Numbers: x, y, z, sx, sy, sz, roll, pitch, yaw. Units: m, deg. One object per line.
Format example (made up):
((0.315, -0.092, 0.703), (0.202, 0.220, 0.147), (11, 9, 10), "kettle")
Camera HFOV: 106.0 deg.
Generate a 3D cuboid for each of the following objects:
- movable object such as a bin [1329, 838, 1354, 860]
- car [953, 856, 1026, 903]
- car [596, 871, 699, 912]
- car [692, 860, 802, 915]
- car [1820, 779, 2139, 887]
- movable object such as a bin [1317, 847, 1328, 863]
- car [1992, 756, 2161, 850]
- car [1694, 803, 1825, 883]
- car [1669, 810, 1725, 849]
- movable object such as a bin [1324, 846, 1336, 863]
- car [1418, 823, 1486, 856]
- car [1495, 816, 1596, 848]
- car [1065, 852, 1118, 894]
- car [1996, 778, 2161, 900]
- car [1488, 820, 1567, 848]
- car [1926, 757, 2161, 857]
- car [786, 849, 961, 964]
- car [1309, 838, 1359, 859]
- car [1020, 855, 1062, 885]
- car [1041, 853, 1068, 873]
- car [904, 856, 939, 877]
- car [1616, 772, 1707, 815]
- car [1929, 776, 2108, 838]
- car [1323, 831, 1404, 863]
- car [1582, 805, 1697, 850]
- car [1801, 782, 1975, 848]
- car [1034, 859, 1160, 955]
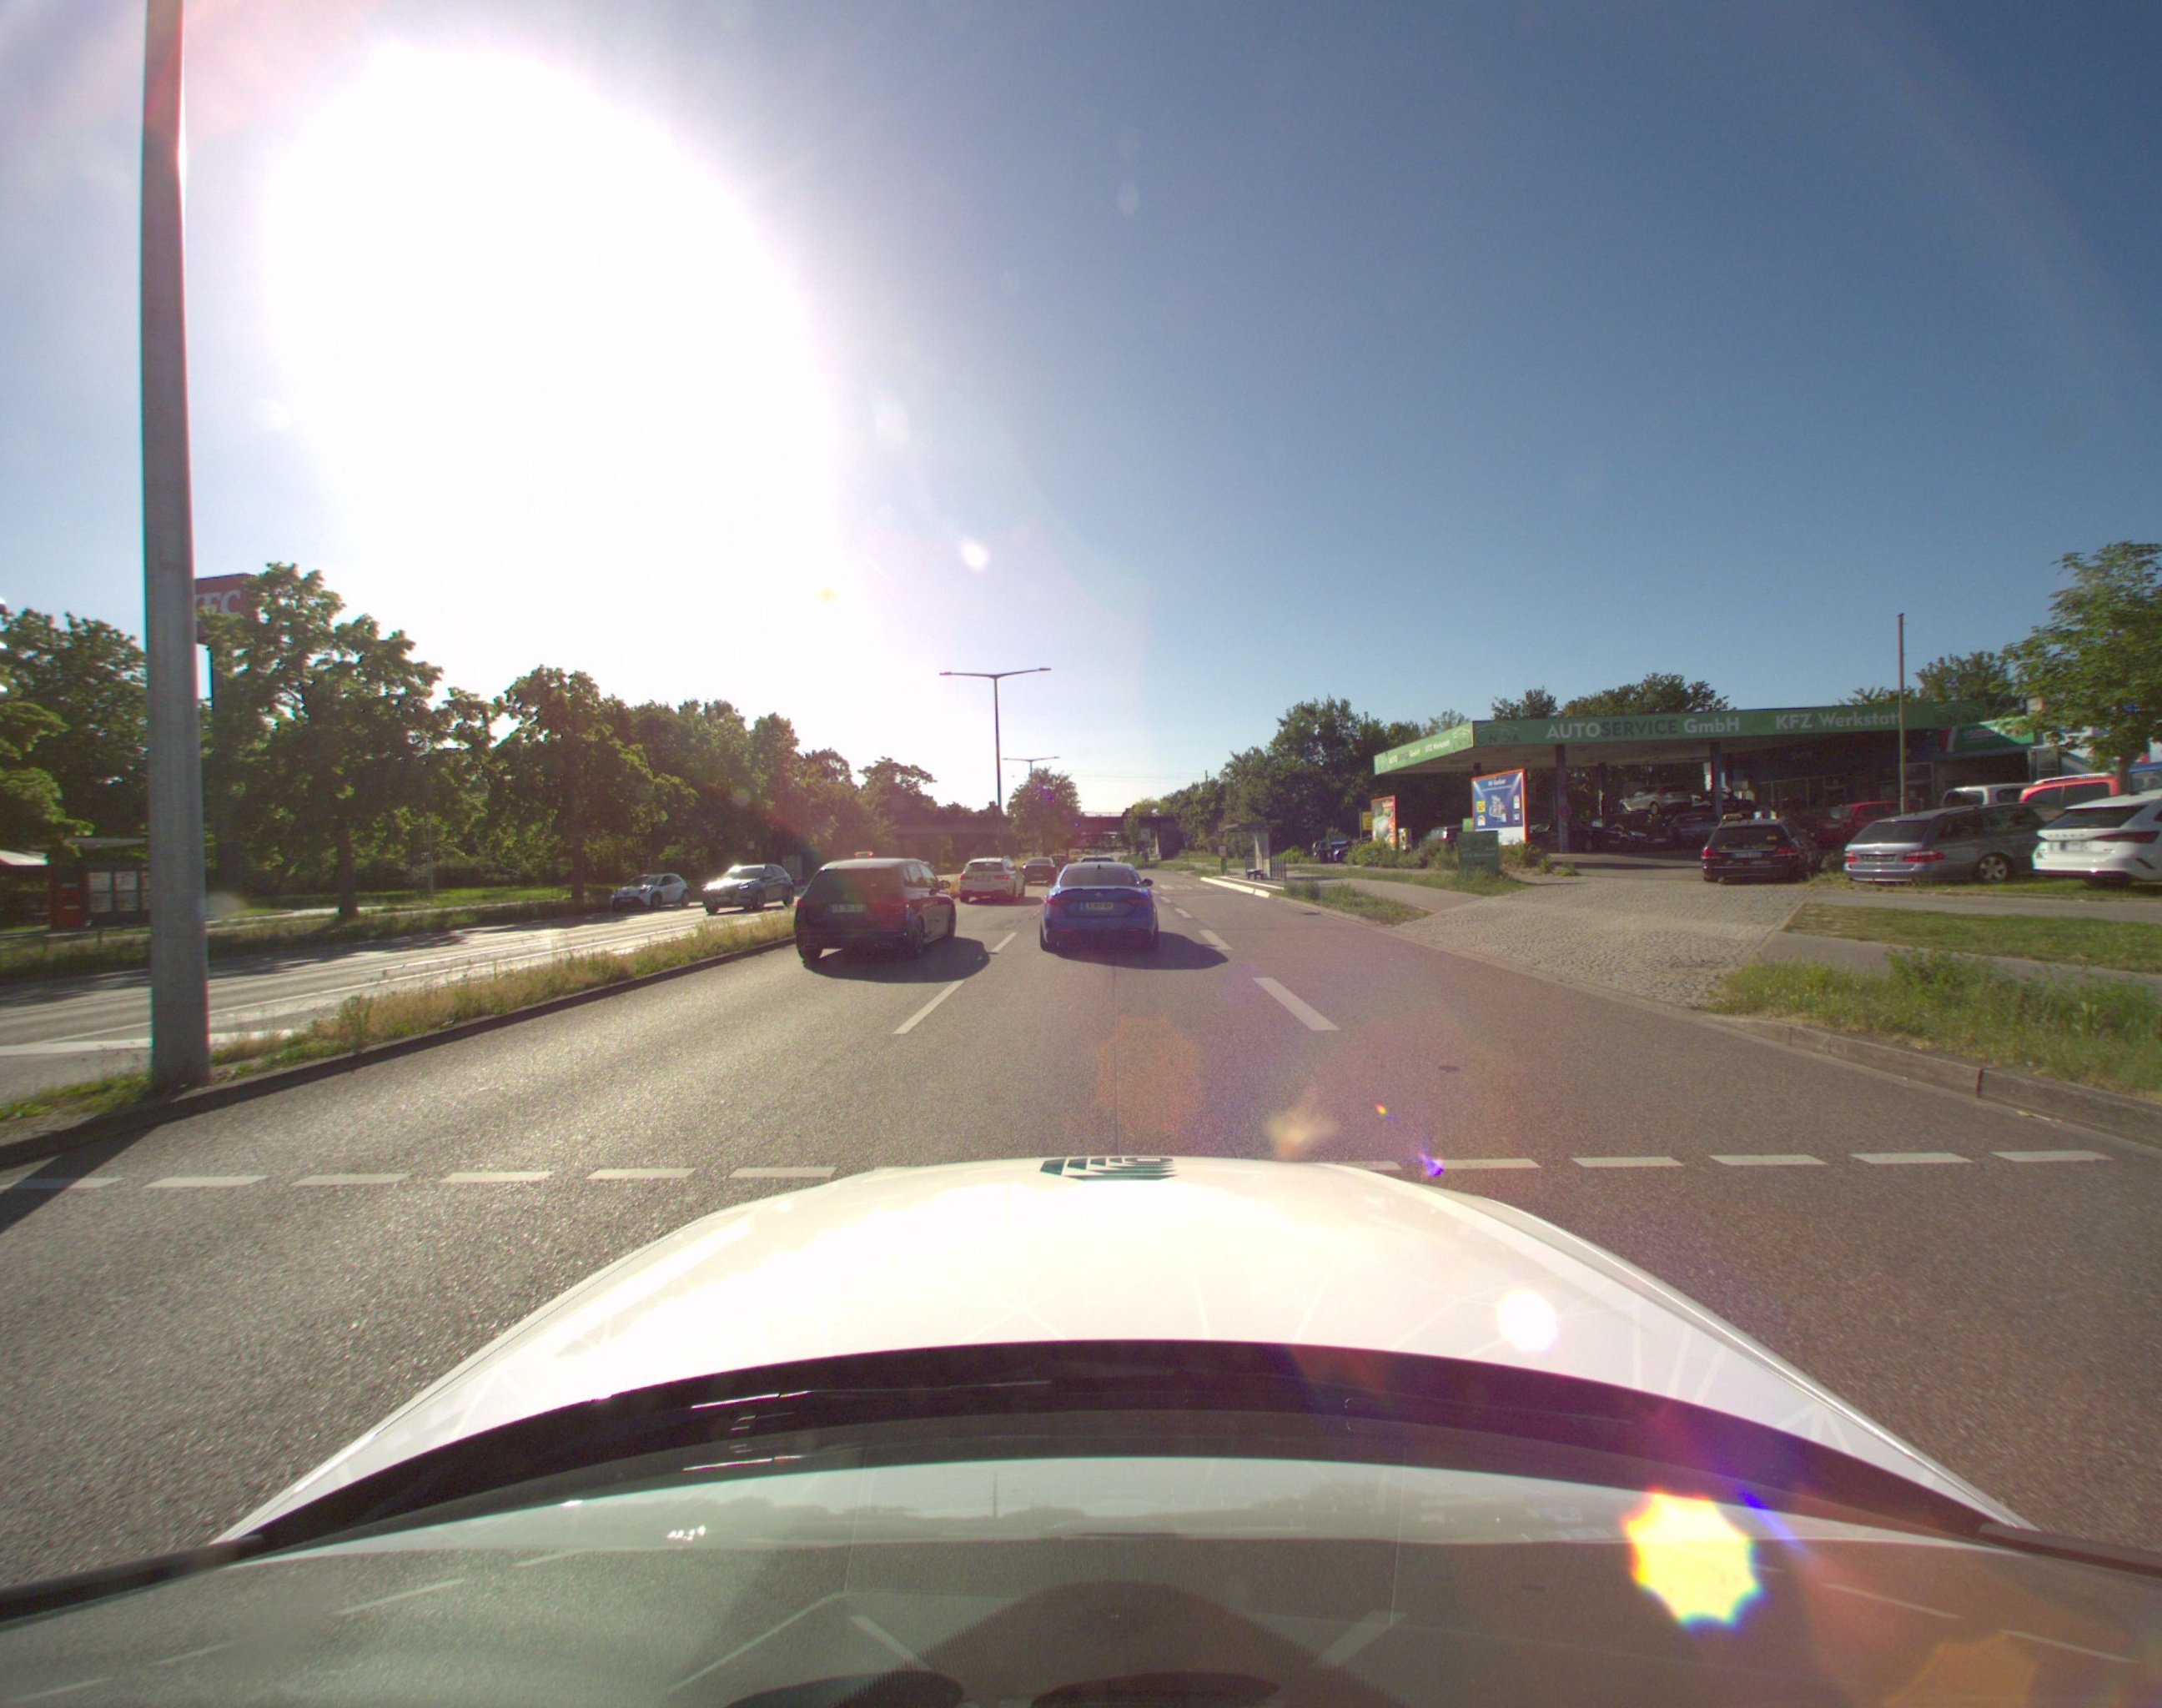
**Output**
((17.553, -0.347, 54.943), (0.994, 1.428, 1.246), (-2, 0, -41), "movable object such as a bin")
((-3.049, 0.808, 28.042), (1.876, 1.454, 4.528), (-1, 0, 2), "car")
((-18.362, 1.552, 34.760), (1.986, 1.474, 4.197), (-2, 0, 2), "car")
((-11.433, 1.091, 28.227), (1.867, 1.642, 4.172), (-4, 0, 2), "car")
((16.292, -0.349, 14.943), (3.592, 1.290, 1.842), (-9, -1, 3), "car")
((16.607, 0.070, 55.962), (0.585, 1.074, 0.504), (-2, 0, -40), "movable object such as a bin")
((22.856, -1.129, 17.409), (1.887, 1.861, 4.215), (-6, -1, -1), "car")
((16.099, -0.311, 19.225), (1.877, 1.531, 4.865), (-5, 0, 45), "car")
((24.592, -0.970, 32.608), (1.671, 1.421, 3.727), (-1, 1, 36), "car")
((17.005, 0.027, 55.593), (0.585, 1.121, 0.504), (-2, 0, -40), "movable object such as a bin")
((19.285, -0.719, 42.509), (1.737, 1.572, 4.252), (-2, 0, 3), "car")
((23.504, -1.071, 41.311), (2.008, 1.486, 3.957), (0, 0, -35), "car")
((0.435, 0.692, 31.245), (1.876, 1.454, 4.528), (-1, 0, 2), "car")
((16.317, -0.411, 11.660), (3.892, 1.452, 1.731), (-9, -1, 12), "car")
((27.757, -1.243, 50.682), (3.977, 1.516, 1.696), (-3, -1, -3), "car")
((20.660, -0.937, 16.715), (1.678, 1.783, 4.594), (-6, -1, 0), "car")
((-3.227, 0.744, 13.548), (1.701, 1.598, 4.225), (-1, 0, 2), "car")
((18.818, -0.419, 60.663), (3.270, 1.486, 1.773), (-1, 0, 3), "car")
((-2.076, 0.820, 43.374), (1.876, 1.454, 4.528), (-1, 0, 2), "car")
((-2.021, 0.704, 63.961), (1.773, 1.454, 4.183), (-2, 0, 2), "car")
((-13.803, 1.055, 70.655), (1.986, 1.684, 4.179), (-3, 0, 2), "car")
((28.897, -2.990, 40.674), (1.911, 1.755, 3.781), (-3, -1, 3), "car")
((31.097, -1.531, 27.103), (3.677, 1.907, 1.925), (-1, 0, 1), "car")
((18.075, -0.437, 52.138), (4.501, 1.640, 1.813), (-5, -1, 31), "car")
((22.537, -1.021, 33.059), (1.986, 1.647, 4.001), (-1, 0, 2), "car")
((26.713, -1.246, 27.074), (3.752, 1.547, 1.849), (-8, -3, 0), "car")
((0.312, 0.807, 14.353), (1.876, 1.406, 4.225), (-1, 0, 2), "car")
